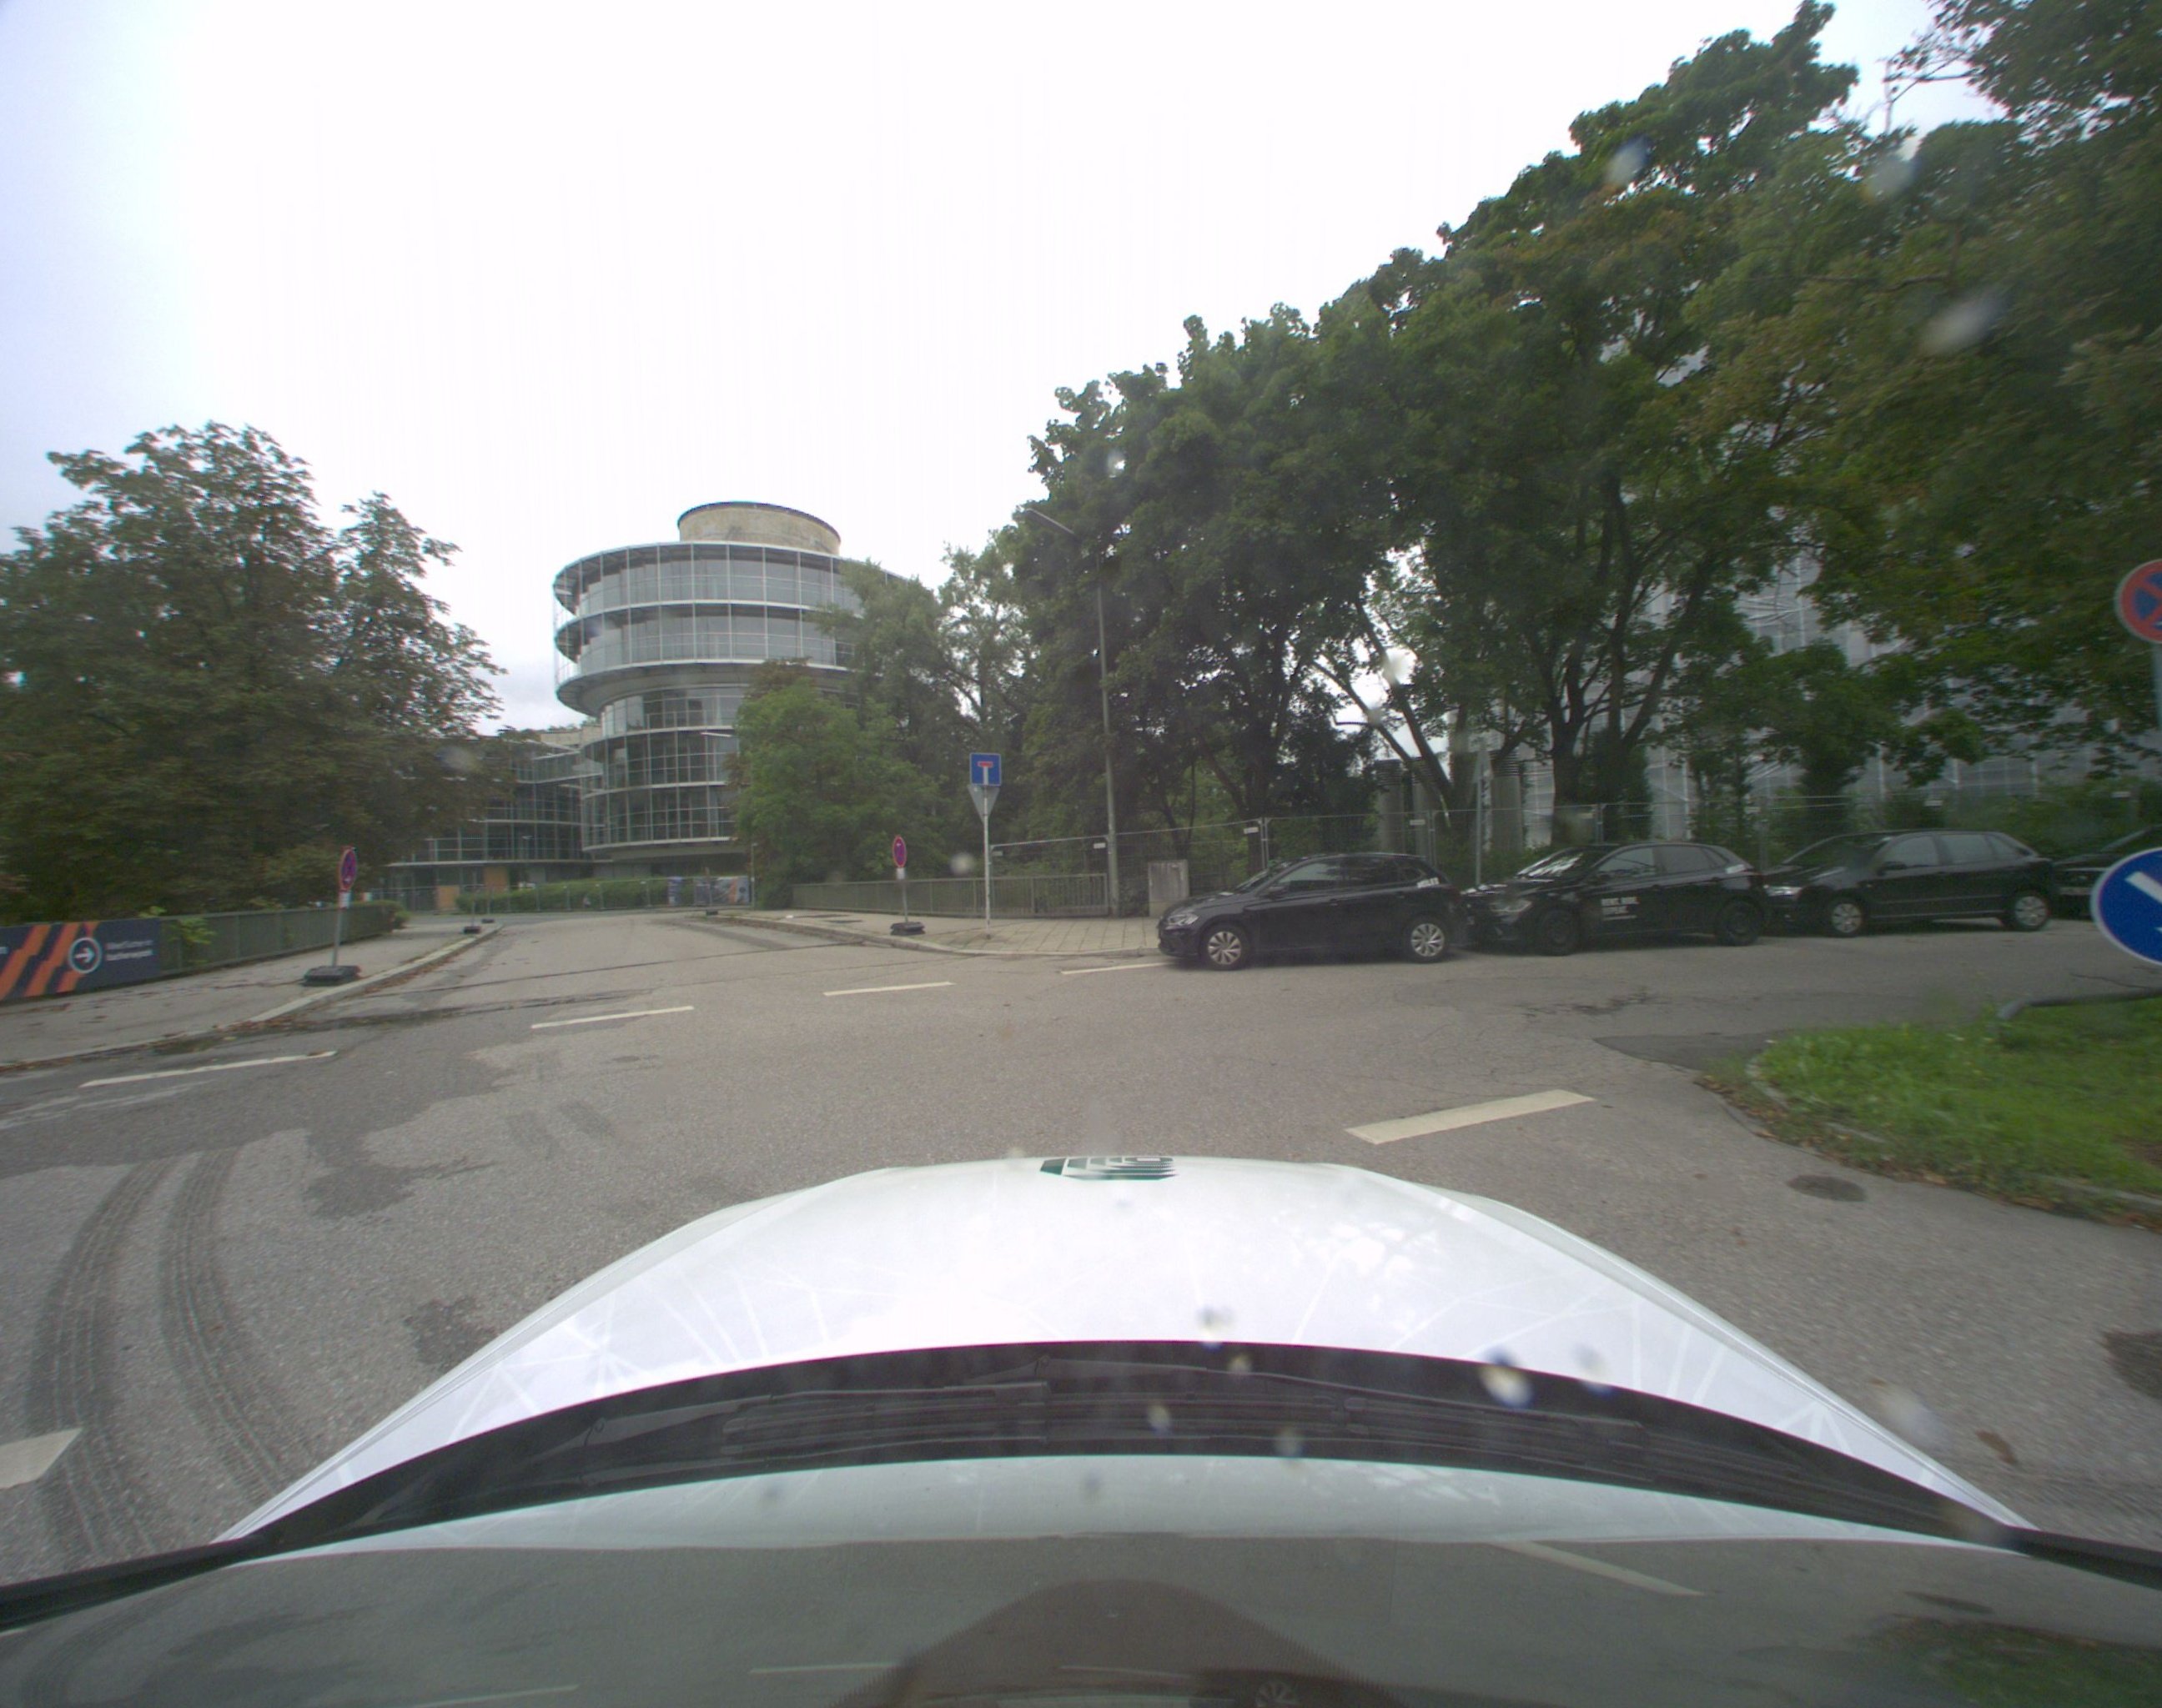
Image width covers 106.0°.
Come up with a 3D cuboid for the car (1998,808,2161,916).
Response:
[{"bbox_3d":[16.561,0.051,12.027,3.981,1.461,1.839,-2,-1,-2],"label":"car"}]

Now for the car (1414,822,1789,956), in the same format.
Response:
[{"bbox_3d":[7.076,0.438,11.413,3.976,1.541,1.999,-2,0,-1],"label":"car"}]

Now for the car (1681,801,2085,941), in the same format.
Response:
[{"bbox_3d":[11.468,0.210,11.881,3.976,1.706,1.999,-2,1,-1],"label":"car"}]

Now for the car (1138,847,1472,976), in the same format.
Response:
[{"bbox_3d":[2.896,0.713,11.227,4.017,1.432,1.999,-2,1,-1],"label":"car"}]
